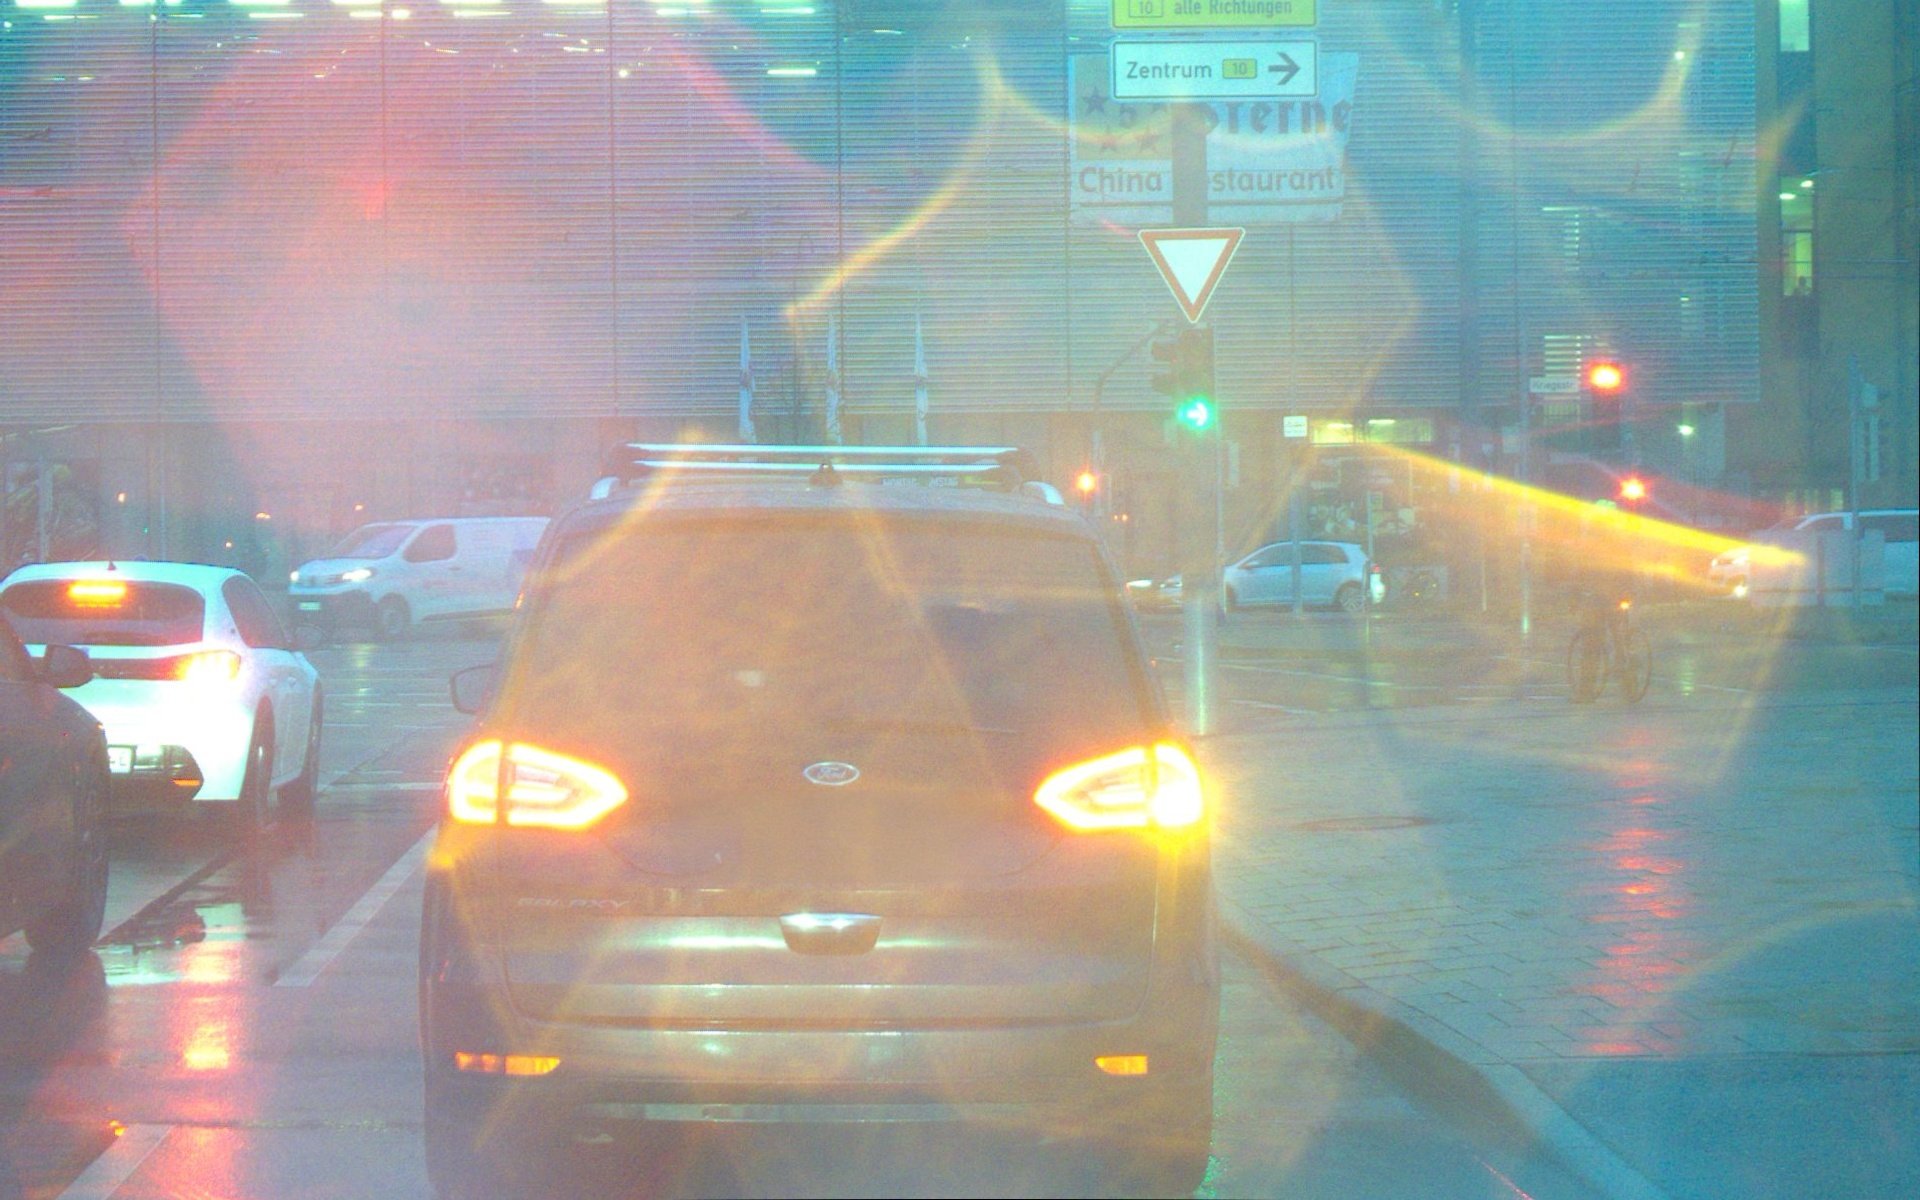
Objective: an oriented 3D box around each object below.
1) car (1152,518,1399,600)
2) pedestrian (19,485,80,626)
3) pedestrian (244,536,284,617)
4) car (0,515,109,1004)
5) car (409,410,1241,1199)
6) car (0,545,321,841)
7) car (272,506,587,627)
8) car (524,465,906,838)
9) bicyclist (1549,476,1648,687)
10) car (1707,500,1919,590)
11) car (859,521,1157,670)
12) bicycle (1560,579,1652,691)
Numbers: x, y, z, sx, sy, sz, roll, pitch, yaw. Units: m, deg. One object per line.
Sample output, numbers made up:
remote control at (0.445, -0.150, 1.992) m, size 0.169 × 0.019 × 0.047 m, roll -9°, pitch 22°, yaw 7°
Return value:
car at (5.950, -0.784, 65.128) m, size 4.326 × 1.481 × 1.867 m, roll -1°, pitch 1°, yaw -9°
pedestrian at (-19.142, -0.934, 72.322) m, size 0.963 × 2.915 × 1.114 m, roll 1°, pitch 0°, yaw -1°
pedestrian at (-15.415, -0.527, 76.144) m, size 0.787 × 1.781 × 0.733 m, roll -1°, pitch 1°, yaw -5°
car at (-4.028, 0.513, 11.293) m, size 1.820 × 1.565 × 4.363 m, roll -1°, pitch 1°, yaw -6°
car at (-0.308, 0.484, 9.067) m, size 1.674 × 1.773 × 4.000 m, roll 1°, pitch 1°, yaw -1°
car at (-4.580, 0.430, 18.945) m, size 1.758 × 1.458 × 3.918 m, roll 0°, pitch 1°, yaw -6°
car at (-8.499, -0.562, 55.459) m, size 1.903 × 1.865 × 4.951 m, roll 0°, pitch 1°, yaw 41°
car at (-1.362, 0.205, 18.992) m, size 1.843 × 1.800 × 4.487 m, roll -1°, pitch 1°, yaw -4°
bicyclist at (5.814, -0.171, 31.367) m, size 0.791 × 1.884 × 0.989 m, roll 0°, pitch 1°, yaw 6°
car at (16.907, -1.057, 66.095) m, size 4.636 × 1.671 × 1.787 m, roll -1°, pitch 1°, yaw -9°
car at (0.526, -0.080, 33.436) m, size 1.641 × 1.356 × 3.729 m, roll 0°, pitch 1°, yaw 22°
bicycle at (5.892, 0.307, 31.433) m, size 0.655 × 0.970 × 1.866 m, roll 0°, pitch 1°, yaw 5°
